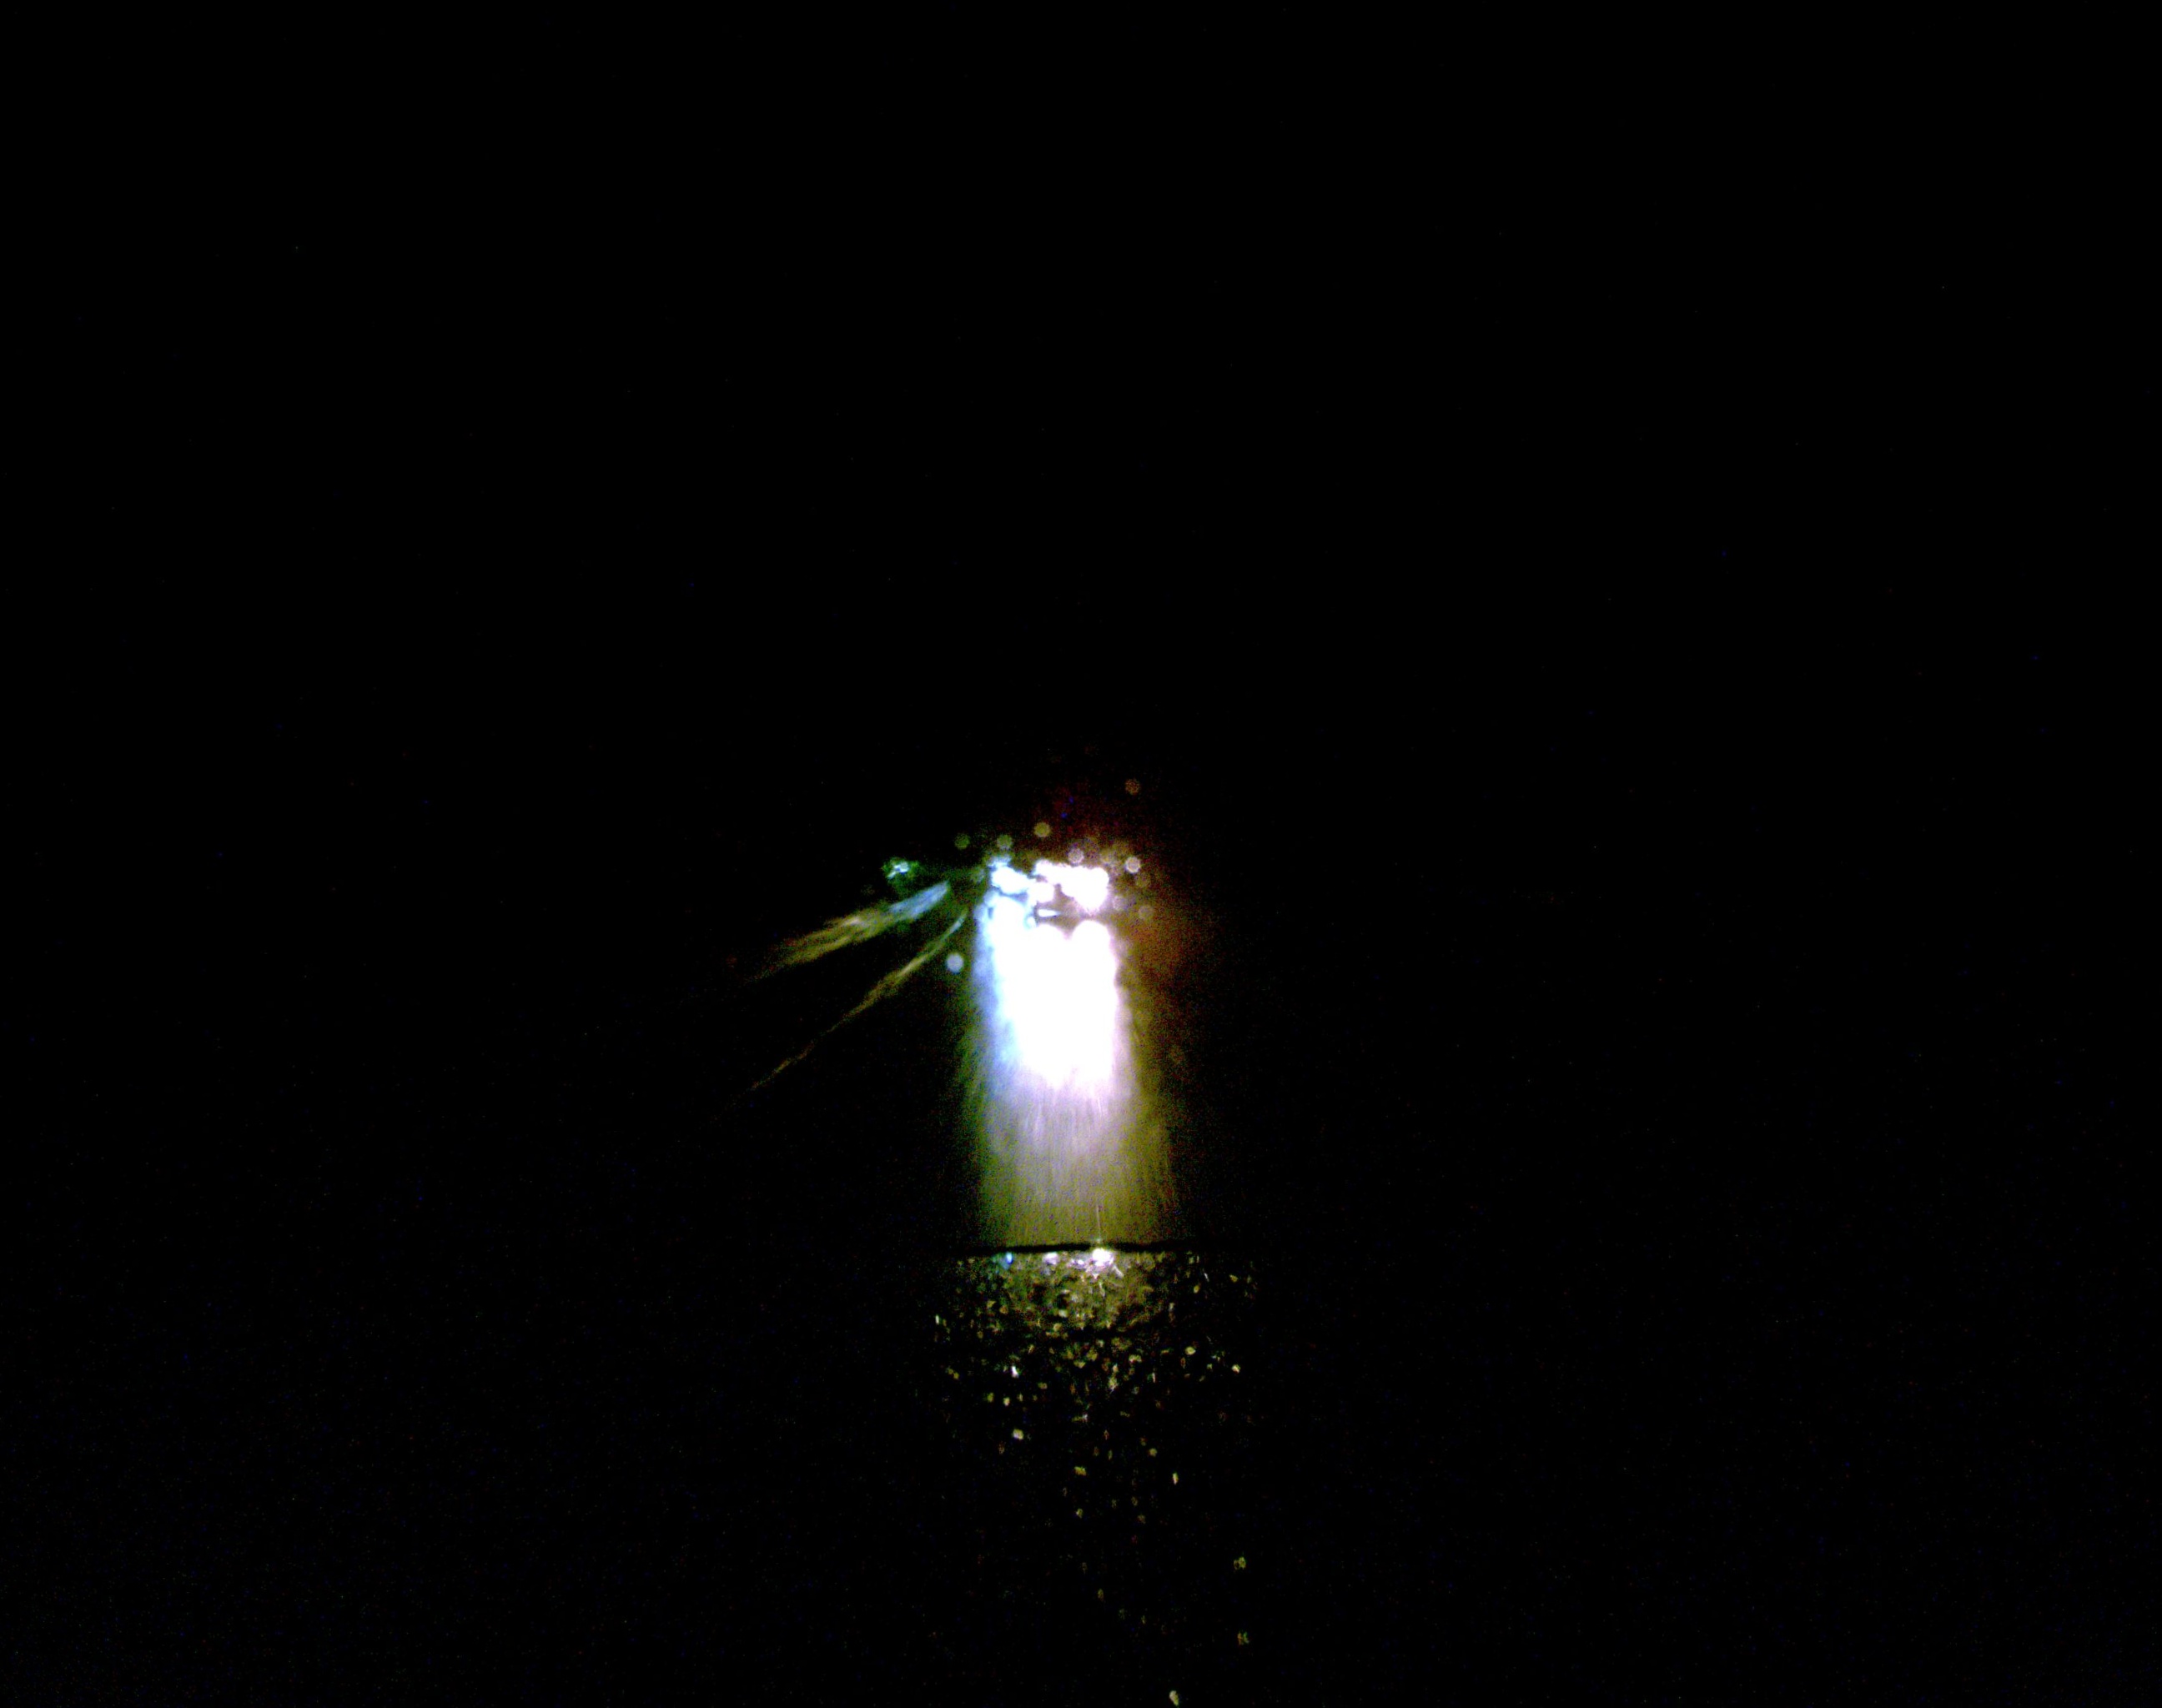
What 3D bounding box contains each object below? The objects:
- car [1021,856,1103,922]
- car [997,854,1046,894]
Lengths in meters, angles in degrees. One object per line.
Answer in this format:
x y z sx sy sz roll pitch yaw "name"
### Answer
-0.626 0.876 20.957 1.850 1.441 3.997 -3 2 -6 "car"
-2.653 0.822 33.092 1.850 1.441 3.871 -3 2 -7 "car"
